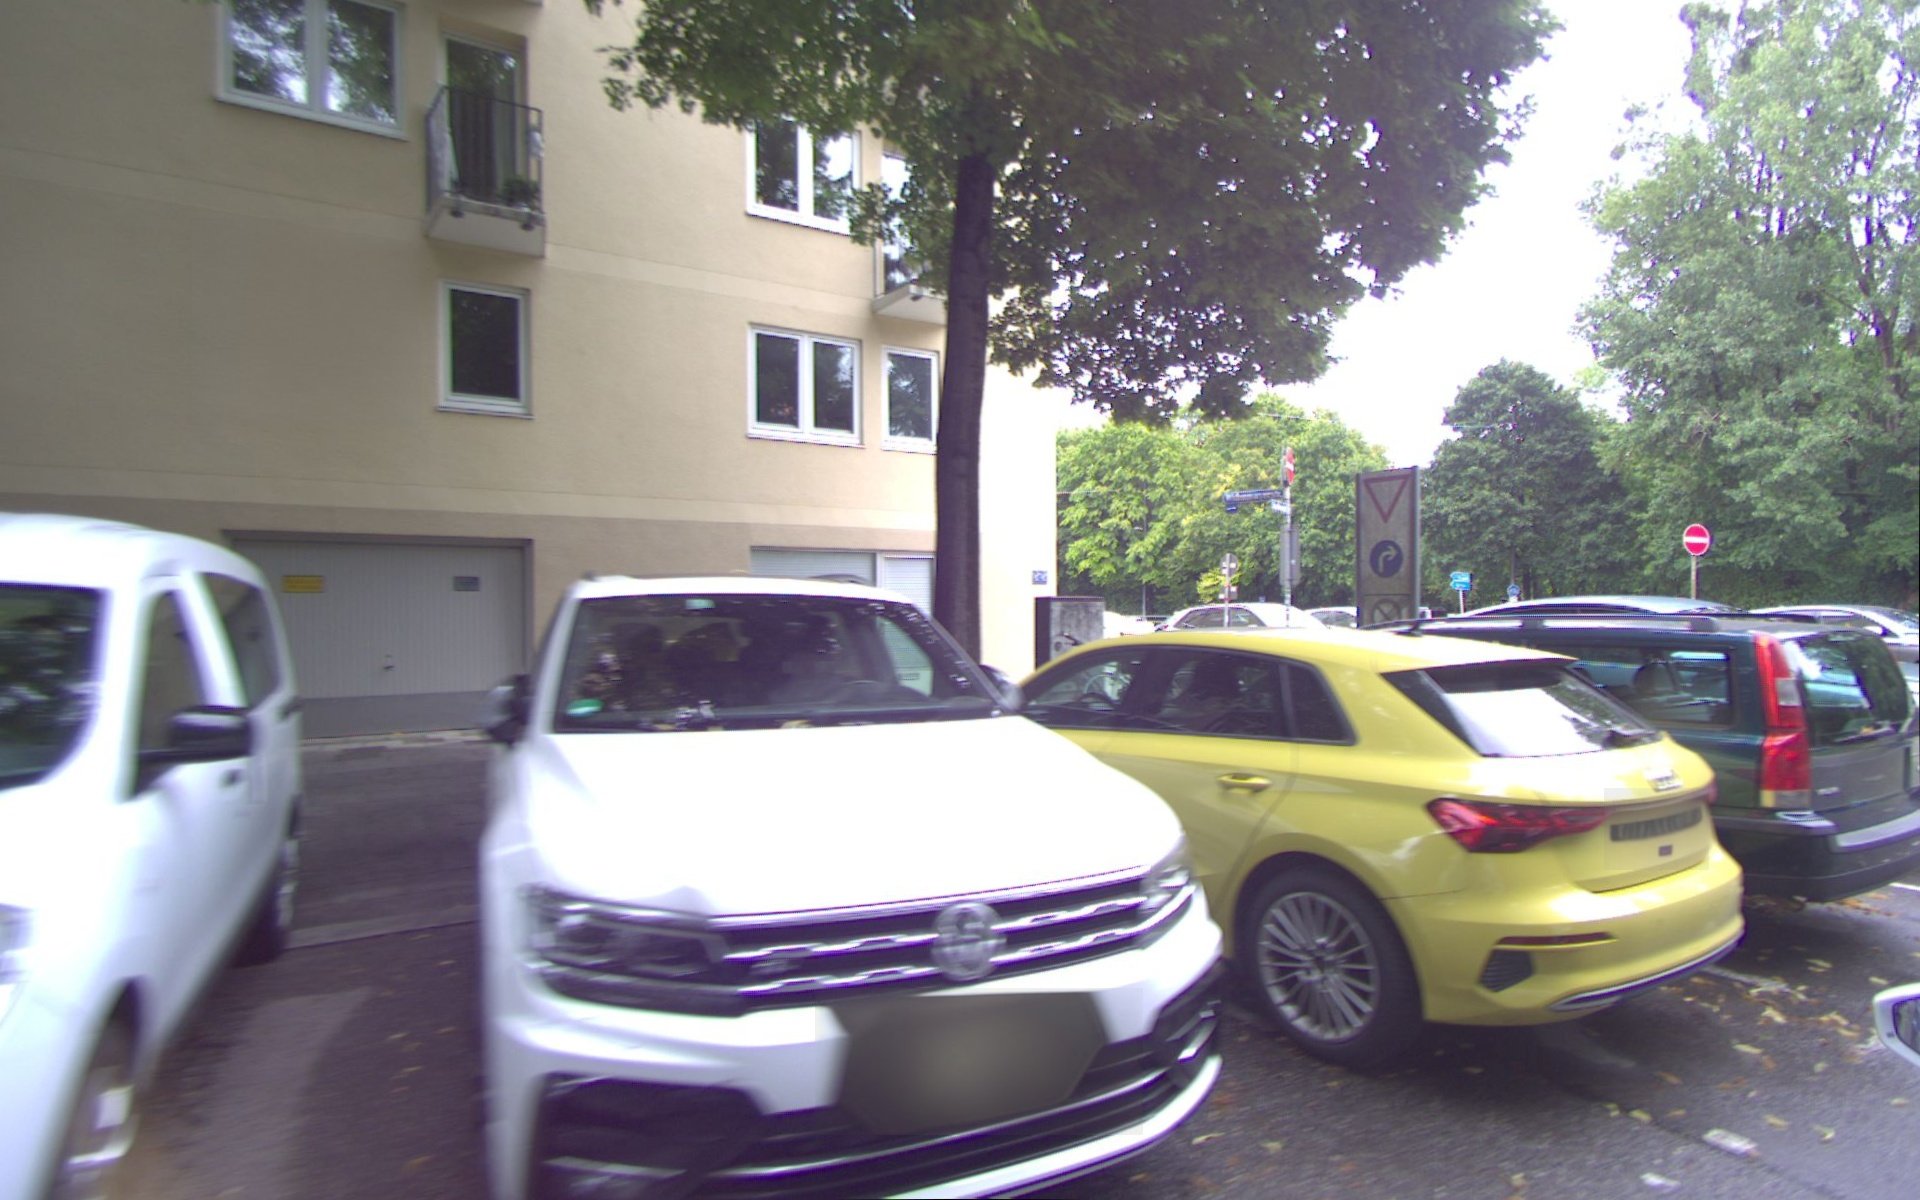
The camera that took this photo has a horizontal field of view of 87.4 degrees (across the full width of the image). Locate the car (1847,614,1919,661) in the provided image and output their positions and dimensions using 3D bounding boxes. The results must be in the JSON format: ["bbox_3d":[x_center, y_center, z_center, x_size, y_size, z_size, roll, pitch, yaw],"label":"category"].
[{"bbox_3d":[33.659,1.278,34.530,1.912,1.600,4.406,1,-1,-34],"label":"car"}]

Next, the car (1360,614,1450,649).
[{"bbox_3d":[22.967,1.597,51.939,1.800,1.715,3.969,0,-1,-30],"label":"car"}]

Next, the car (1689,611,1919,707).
[{"bbox_3d":[14.352,0.885,15.873,1.744,1.398,4.340,0,-1,-22],"label":"car"}]

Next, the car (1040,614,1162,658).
[{"bbox_3d":[4.729,1.200,34.322,1.751,1.398,4.322,1,-1,-33],"label":"car"}]

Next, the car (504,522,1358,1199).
[{"bbox_3d":[-0.801,0.707,4.005,1.811,1.618,4.435,0,-1,-25],"label":"car"}]

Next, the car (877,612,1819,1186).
[{"bbox_3d":[1.246,0.819,4.683,1.721,1.460,3.859,0,-2,-31],"label":"car"}]

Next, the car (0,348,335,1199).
[{"bbox_3d":[-3.046,0.595,2.811,1.825,1.754,4.298,0,-2,-27],"label":"car"}]

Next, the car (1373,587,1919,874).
[{"bbox_3d":[5.413,0.766,7.454,1.715,1.622,4.142,-2,-1,-30],"label":"car"}]

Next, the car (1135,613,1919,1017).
[{"bbox_3d":[2.994,0.855,5.904,1.715,1.483,3.968,-1,-1,-30],"label":"car"}]

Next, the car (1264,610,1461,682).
[{"bbox_3d":[9.802,1.052,24.830,1.973,1.585,4.394,0,-1,-25],"label":"car"}]

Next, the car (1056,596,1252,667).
[{"bbox_3d":[4.122,0.672,22.025,1.751,1.398,4.322,1,-1,-33],"label":"car"}]
